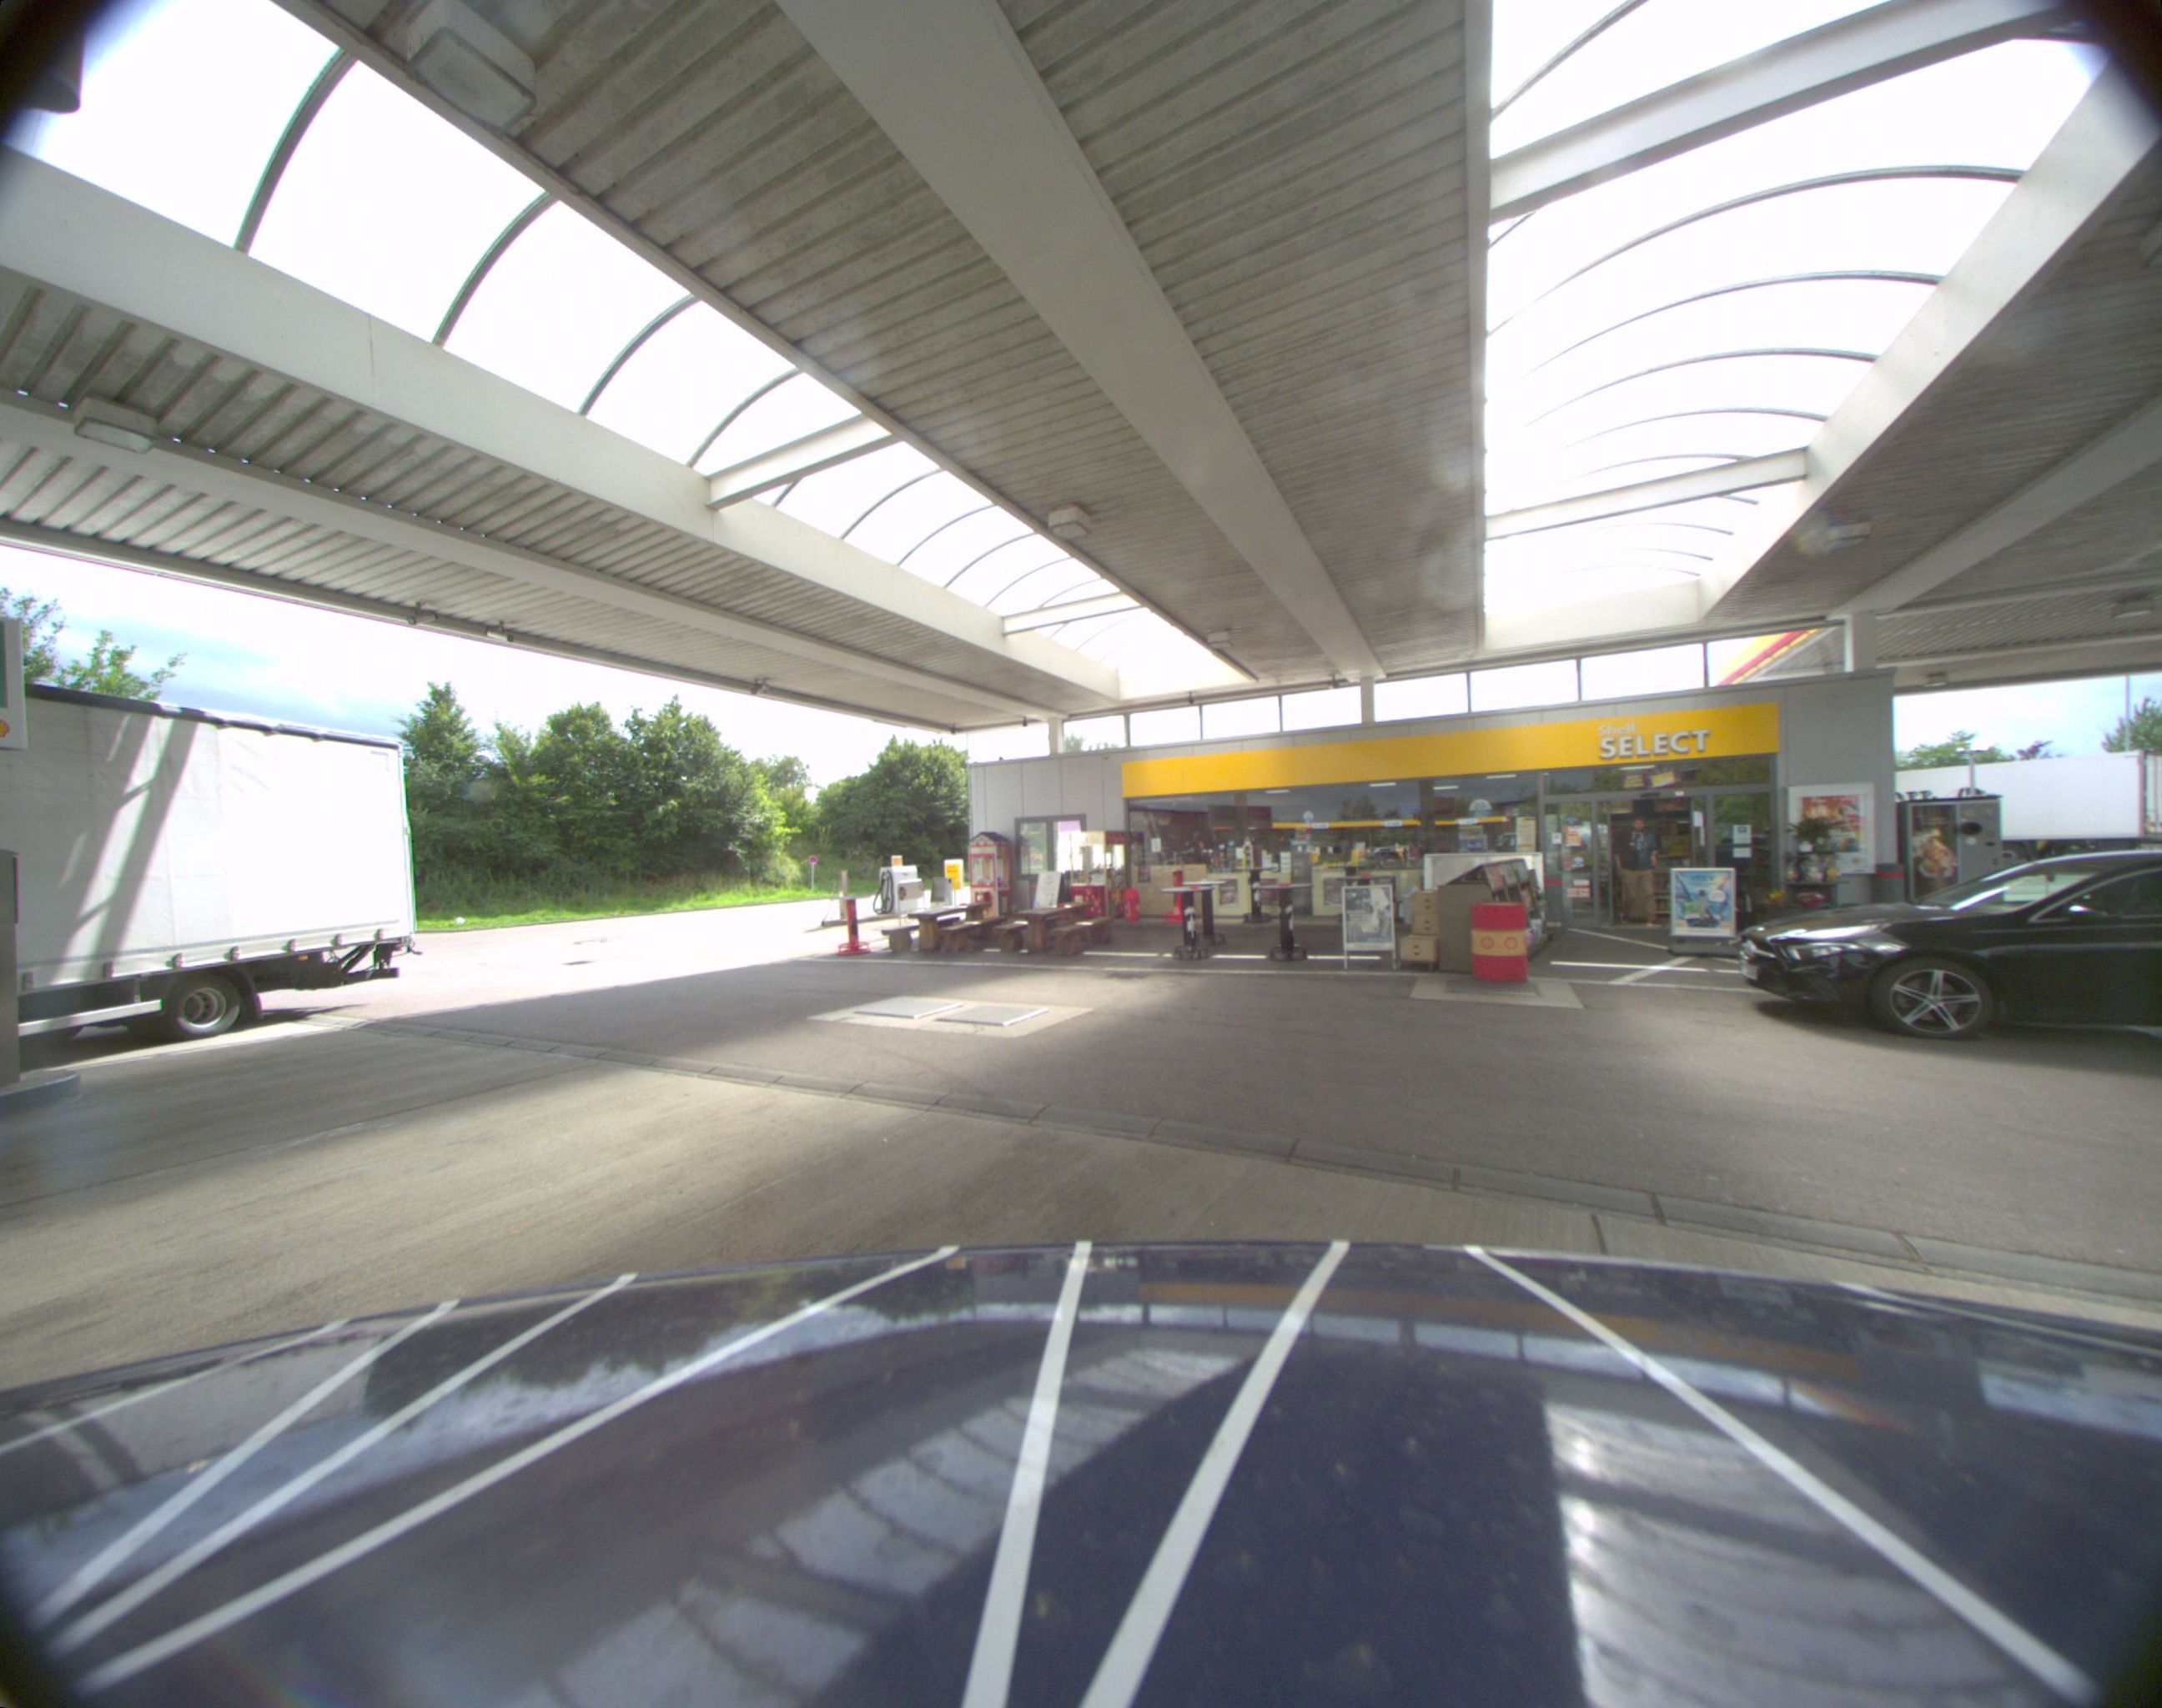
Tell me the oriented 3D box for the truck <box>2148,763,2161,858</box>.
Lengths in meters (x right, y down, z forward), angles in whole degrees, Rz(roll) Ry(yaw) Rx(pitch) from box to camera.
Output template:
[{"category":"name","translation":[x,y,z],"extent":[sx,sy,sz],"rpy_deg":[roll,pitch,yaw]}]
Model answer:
[{"category":"truck","translation":[51.478,-2.046,33.154],"extent":[3.383,4.479,6.239],"rpy_deg":[-2,1,29]}]

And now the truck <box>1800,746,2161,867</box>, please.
[{"category":"truck","translation":[35.130,-1.618,30.074],"extent":[2.796,3.982,9.578],"rpy_deg":[-3,1,-16]}]

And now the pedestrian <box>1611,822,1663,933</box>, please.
[{"category":"pedestrian","translation":[9.755,0.406,13.342],"extent":[0.580,1.895,0.510],"rpy_deg":[-2,1,19]}]

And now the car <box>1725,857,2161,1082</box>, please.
[{"category":"car","translation":[8.145,0.812,5.934],"extent":[4.461,1.491,1.782],"rpy_deg":[-2,1,28]}]
